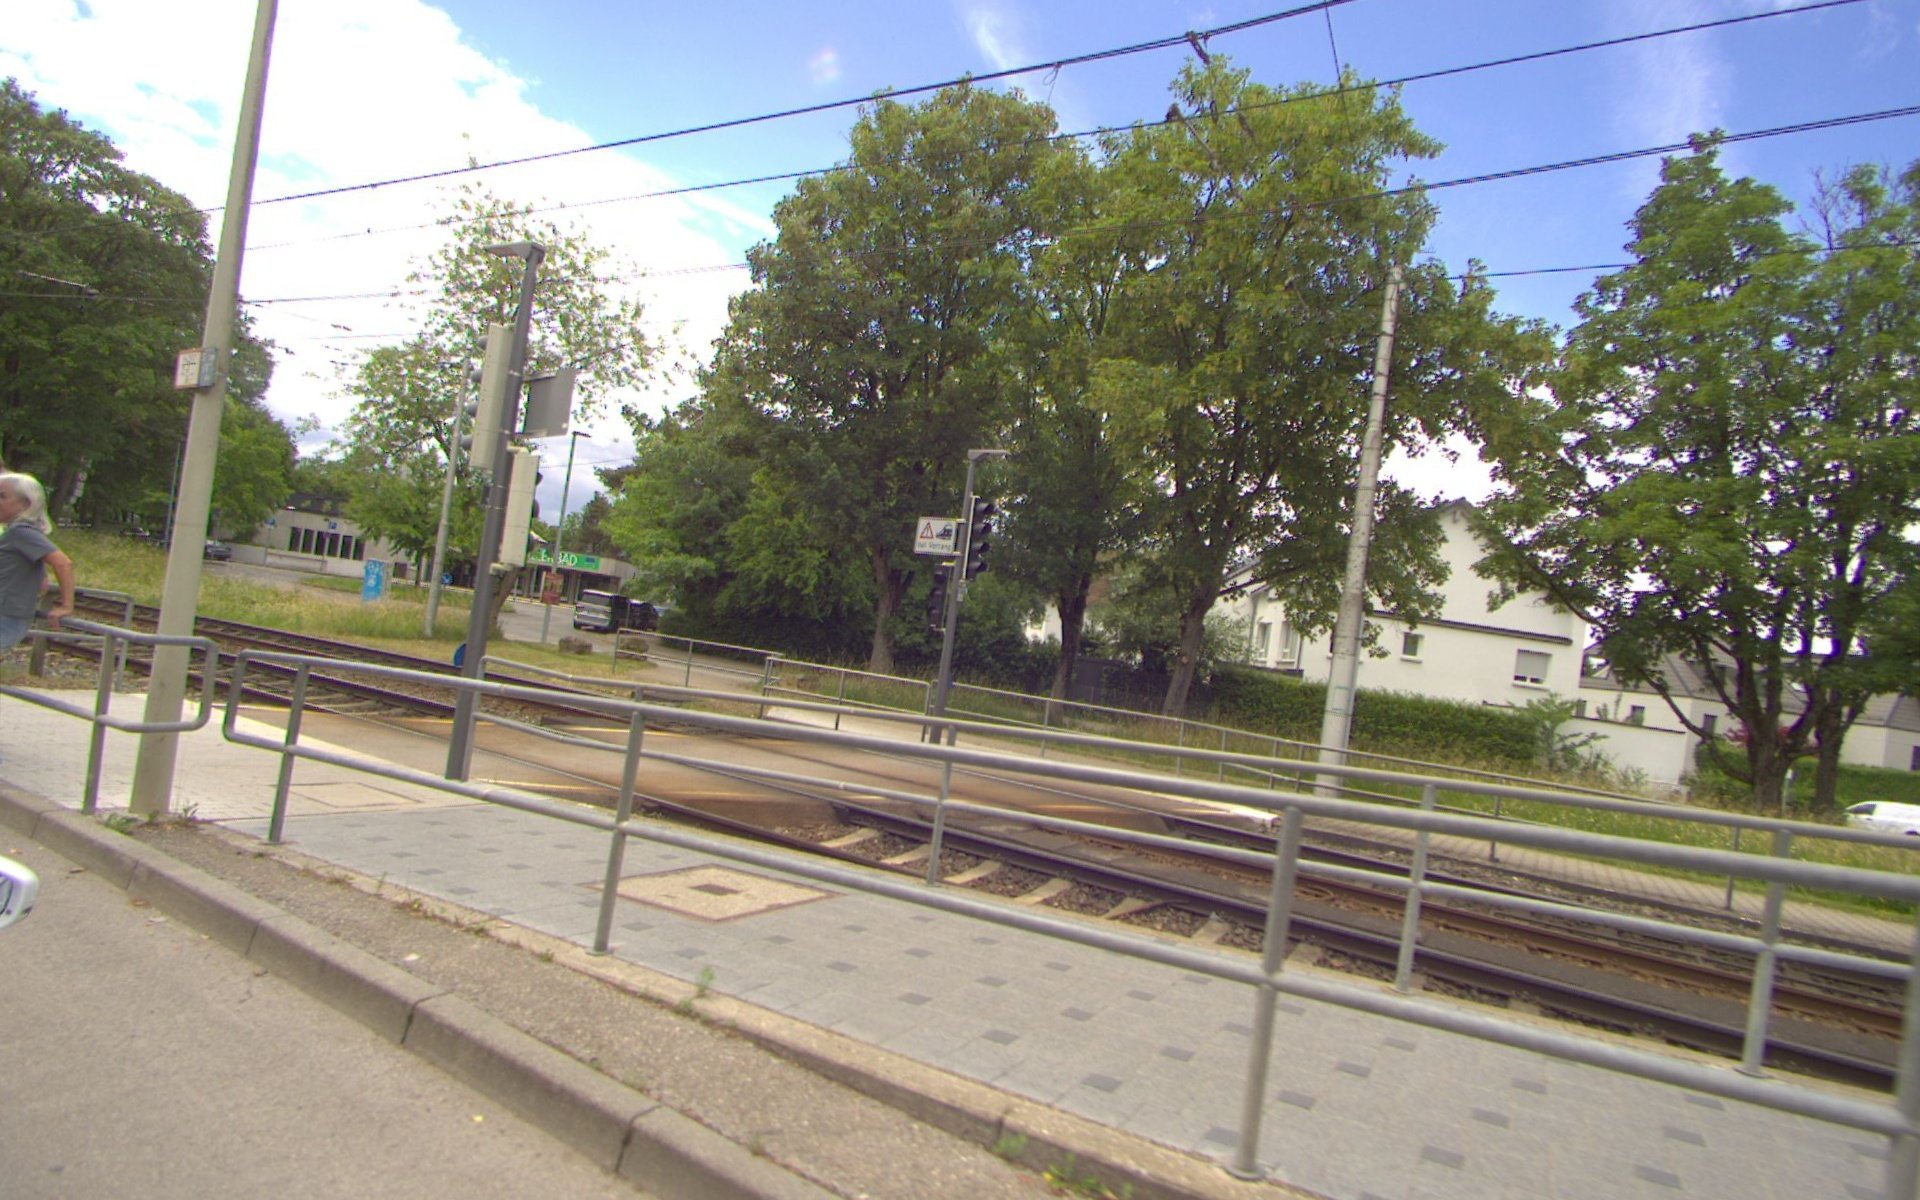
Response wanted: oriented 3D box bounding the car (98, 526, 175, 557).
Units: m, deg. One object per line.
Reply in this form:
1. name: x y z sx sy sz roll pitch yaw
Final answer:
1. car: -54.213 -3.842 66.227 3.925 1.459 2.002 6 -2 18

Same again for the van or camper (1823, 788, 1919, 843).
1. van or camper: 40.578 9.466 43.624 1.970 1.669 4.322 9 -3 -14

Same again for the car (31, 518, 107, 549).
1. car: -60.285 -4.506 68.076 3.925 1.459 2.002 6 -2 18

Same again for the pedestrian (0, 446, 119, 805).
1. pedestrian: -5.006 0.111 5.164 0.785 1.748 0.476 5 -3 6

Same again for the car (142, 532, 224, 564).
1. car: -50.202 -3.343 64.994 4.264 1.459 2.002 6 -2 18

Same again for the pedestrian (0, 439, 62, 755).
1. pedestrian: -5.985 -0.041 5.909 0.585 1.860 0.662 5 -3 7

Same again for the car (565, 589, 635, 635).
1. car: -17.243 0.623 48.466 1.884 1.882 4.713 7 -2 -6

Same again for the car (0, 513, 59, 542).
1. car: -64.941 -5.051 69.639 3.925 1.459 2.002 6 -2 18

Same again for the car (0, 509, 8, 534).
1. car: -70.277 -5.867 71.415 4.149 1.718 2.003 6 -3 18
